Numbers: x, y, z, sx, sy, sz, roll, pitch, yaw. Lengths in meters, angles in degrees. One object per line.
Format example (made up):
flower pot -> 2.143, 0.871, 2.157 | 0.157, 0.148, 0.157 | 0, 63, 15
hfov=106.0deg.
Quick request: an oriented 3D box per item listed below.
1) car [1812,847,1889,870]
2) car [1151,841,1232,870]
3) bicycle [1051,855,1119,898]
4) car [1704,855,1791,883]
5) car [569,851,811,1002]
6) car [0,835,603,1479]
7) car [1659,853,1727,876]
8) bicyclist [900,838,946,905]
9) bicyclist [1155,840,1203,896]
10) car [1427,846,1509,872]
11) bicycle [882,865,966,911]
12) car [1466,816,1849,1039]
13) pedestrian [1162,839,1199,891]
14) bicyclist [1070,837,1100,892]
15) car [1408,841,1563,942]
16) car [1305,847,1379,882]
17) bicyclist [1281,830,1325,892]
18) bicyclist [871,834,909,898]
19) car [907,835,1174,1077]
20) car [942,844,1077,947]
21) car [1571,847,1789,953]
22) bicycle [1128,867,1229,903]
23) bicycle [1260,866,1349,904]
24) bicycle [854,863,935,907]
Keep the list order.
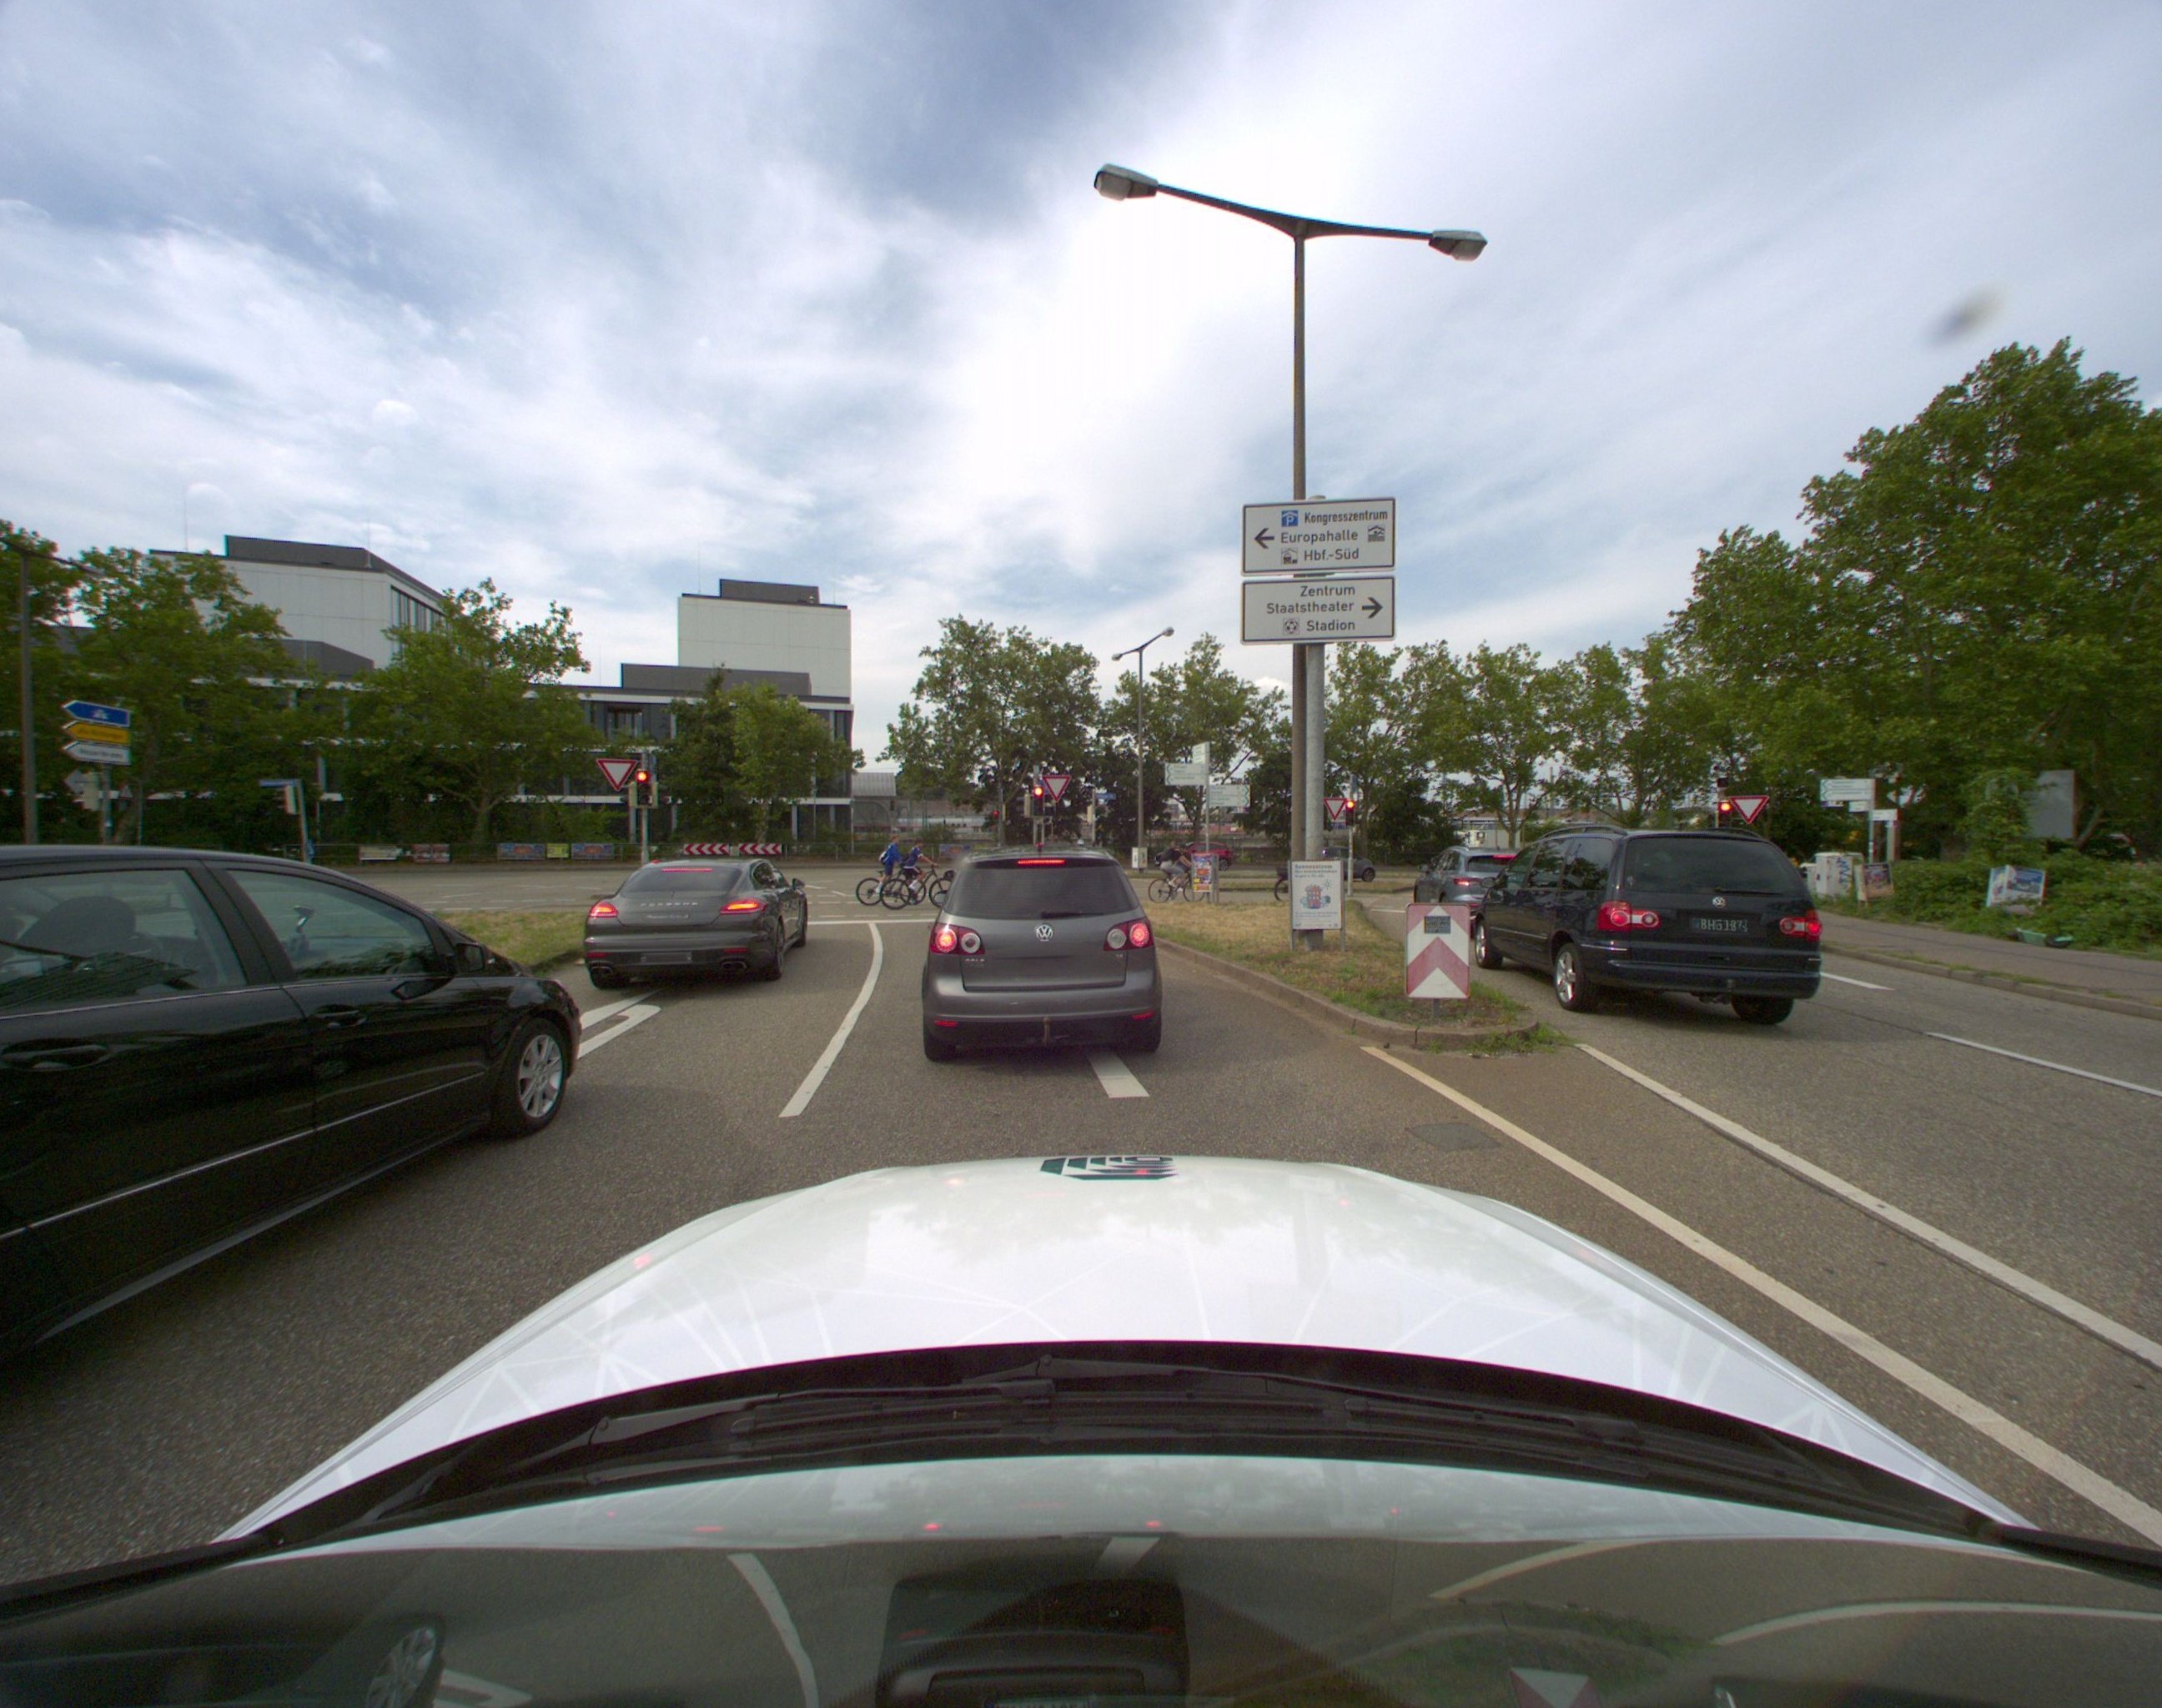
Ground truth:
car -> 51.164, 0.249, 54.169 | 4.336, 1.448, 1.752 | -1, 0, -15
car -> 5.887, 0.063, 43.448 | 3.963, 1.448, 1.692 | -1, 0, -19
bicycle -> 0.111, 0.636, 23.687 | 1.900, 1.210, 0.641 | 0, 1, -9
car -> 35.961, 0.786, 43.957 | 4.067, 1.450, 1.693 | -1, 0, -17
car -> -4.628, 0.696, 10.436 | 1.821, 1.414, 4.754 | 0, 1, -13
car -> -3.648, 0.729, 2.970 | 1.755, 1.575, 4.028 | 0, 1, -6
car -> 40.837, 0.707, 54.347 | 3.963, 1.448, 1.692 | -1, 0, -19
bicyclist -> -3.739, 0.394, 19.275 | 1.018, 1.539, 0.625 | -1, 1, -15
bicyclist -> 2.602, 0.352, 21.711 | 1.115, 1.436, 0.645 | -1, 1, -14
car -> 22.987, 0.254, 48.442 | 4.336, 1.448, 1.752 | -1, 0, -15
bicycle -> -3.726, 0.779, 19.297 | 1.904, 1.013, 0.625 | -1, 1, -15
car -> 5.578, 0.573, 8.607 | 1.739, 1.724, 4.151 | 2, 0, 11
pedestrian -> 3.327, 0.349, 27.228 | 1.038, 1.710, 0.858 | 1, 1, 19
bicyclist -> 0.102, 0.286, 23.666 | 0.779, 1.581, 0.653 | 0, 1, -8
car -> 7.394, 0.610, 15.305 | 1.679, 1.585, 4.171 | 2, 0, 13
car -> 11.269, 0.426, 35.170 | 2.719, 1.422, 1.490 | -1, 0, -19
bicyclist -> 6.088, 0.187, 22.379 | 0.882, 1.656, 0.808 | -1, 0, -13
bicyclist -> -4.724, 0.280, 20.127 | 0.840, 1.529, 0.625 | -1, 1, -18
car -> -0.457, 0.647, 7.368 | 1.739, 1.546, 4.073 | -1, 0, -6
car -> -1.390, 0.598, 14.114 | 1.743, 1.482, 4.063 | -1, 0, -14
car -> 10.868, 0.740, 15.179 | 1.738, 1.643, 4.152 | 2, 0, 13
bicycle -> 2.601, 0.810, 21.728 | 2.587, 0.890, 0.701 | -1, 1, -14
bicycle -> 6.141, 0.844, 22.402 | 2.230, 0.952, 0.808 | -1, 0, -13
bicycle -> -4.611, 0.760, 20.147 | 1.906, 1.013, 0.625 | -1, 1, -18
